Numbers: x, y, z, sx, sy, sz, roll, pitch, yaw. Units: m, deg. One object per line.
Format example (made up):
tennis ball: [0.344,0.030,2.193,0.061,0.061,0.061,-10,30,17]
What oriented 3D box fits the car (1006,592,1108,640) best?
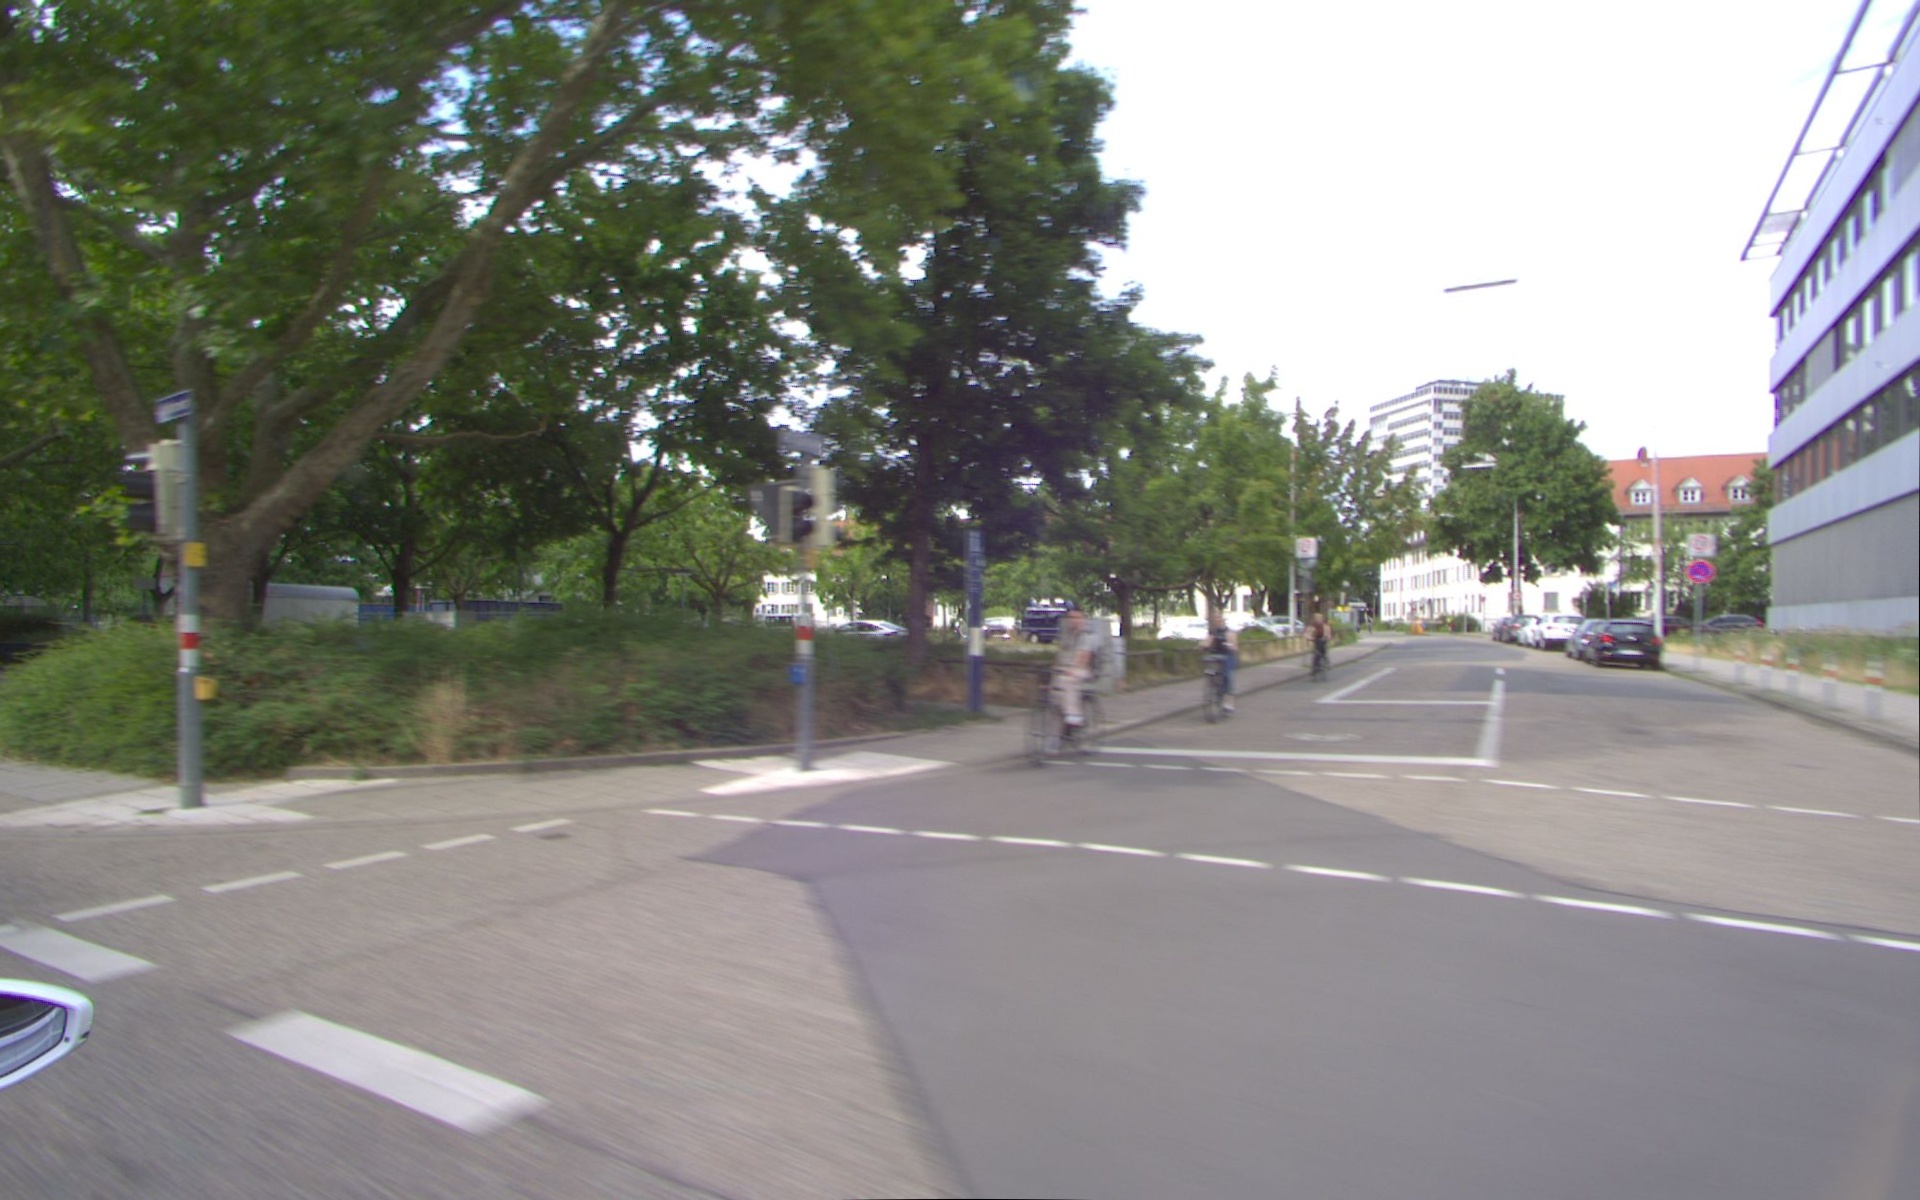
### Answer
car: [5.659,0.950,58.512,5.413,2.646,2.434,0,-2,29]

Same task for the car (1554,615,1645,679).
car: [22.022,1.624,34.628,1.966,2.039,3.992,0,-2,22]

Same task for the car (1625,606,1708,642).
car: [42.174,1.443,59.868,3.942,2.039,1.991,0,-2,32]

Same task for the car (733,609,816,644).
car: [-11.326,1.610,61.082,4.697,2.039,1.994,0,-2,27]

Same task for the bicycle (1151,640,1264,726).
bicycle: [3.847,1.233,15.413,0.904,1.187,2.238,-2,-2,36]

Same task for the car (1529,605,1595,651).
car: [26.308,1.260,43.878,1.920,1.884,3.872,0,-2,22]

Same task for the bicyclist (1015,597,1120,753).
bicyclist: [1.242,0.837,11.546,0.904,1.699,0.826,-2,-1,36]

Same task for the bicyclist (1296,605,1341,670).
bicyclist: [9.040,0.942,25.238,0.903,1.597,0.827,-1,-1,33]

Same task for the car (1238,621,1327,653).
car: [18.968,2.171,59.007,4.700,1.816,1.993,0,-2,29]

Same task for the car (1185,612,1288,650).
car: [14.001,1.579,50.817,4.700,1.816,1.993,0,-2,29]

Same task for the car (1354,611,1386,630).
car: [34.092,1.745,83.325,1.687,1.471,4.001,1,-2,10]

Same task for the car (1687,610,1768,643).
car: [49.001,1.713,64.040,3.943,2.039,1.991,0,-2,33]

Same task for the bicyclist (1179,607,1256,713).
bicyclist: [4.035,0.924,15.673,0.904,1.597,0.826,-2,-1,36]

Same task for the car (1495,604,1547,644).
car: [30.293,1.320,54.128,1.966,2.039,3.992,0,-2,22]

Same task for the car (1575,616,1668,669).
car: [19.809,1.294,30.106,1.648,1.462,3.645,0,-3,22]

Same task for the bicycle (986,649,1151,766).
bicycle: [1.313,1.181,11.641,0.904,1.187,2.238,-2,-2,36]

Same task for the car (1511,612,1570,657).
car: [28.218,1.707,48.798,1.966,2.039,3.992,0,-2,22]

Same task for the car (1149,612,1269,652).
car: [10.873,1.401,43.812,4.706,1.651,1.990,0,-3,33]

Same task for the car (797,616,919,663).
car: [-4.227,1.628,41.322,4.700,1.816,1.993,0,-2,29]

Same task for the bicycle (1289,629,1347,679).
bicycle: [9.030,1.326,25.198,0.903,1.187,2.240,-1,-2,32]
